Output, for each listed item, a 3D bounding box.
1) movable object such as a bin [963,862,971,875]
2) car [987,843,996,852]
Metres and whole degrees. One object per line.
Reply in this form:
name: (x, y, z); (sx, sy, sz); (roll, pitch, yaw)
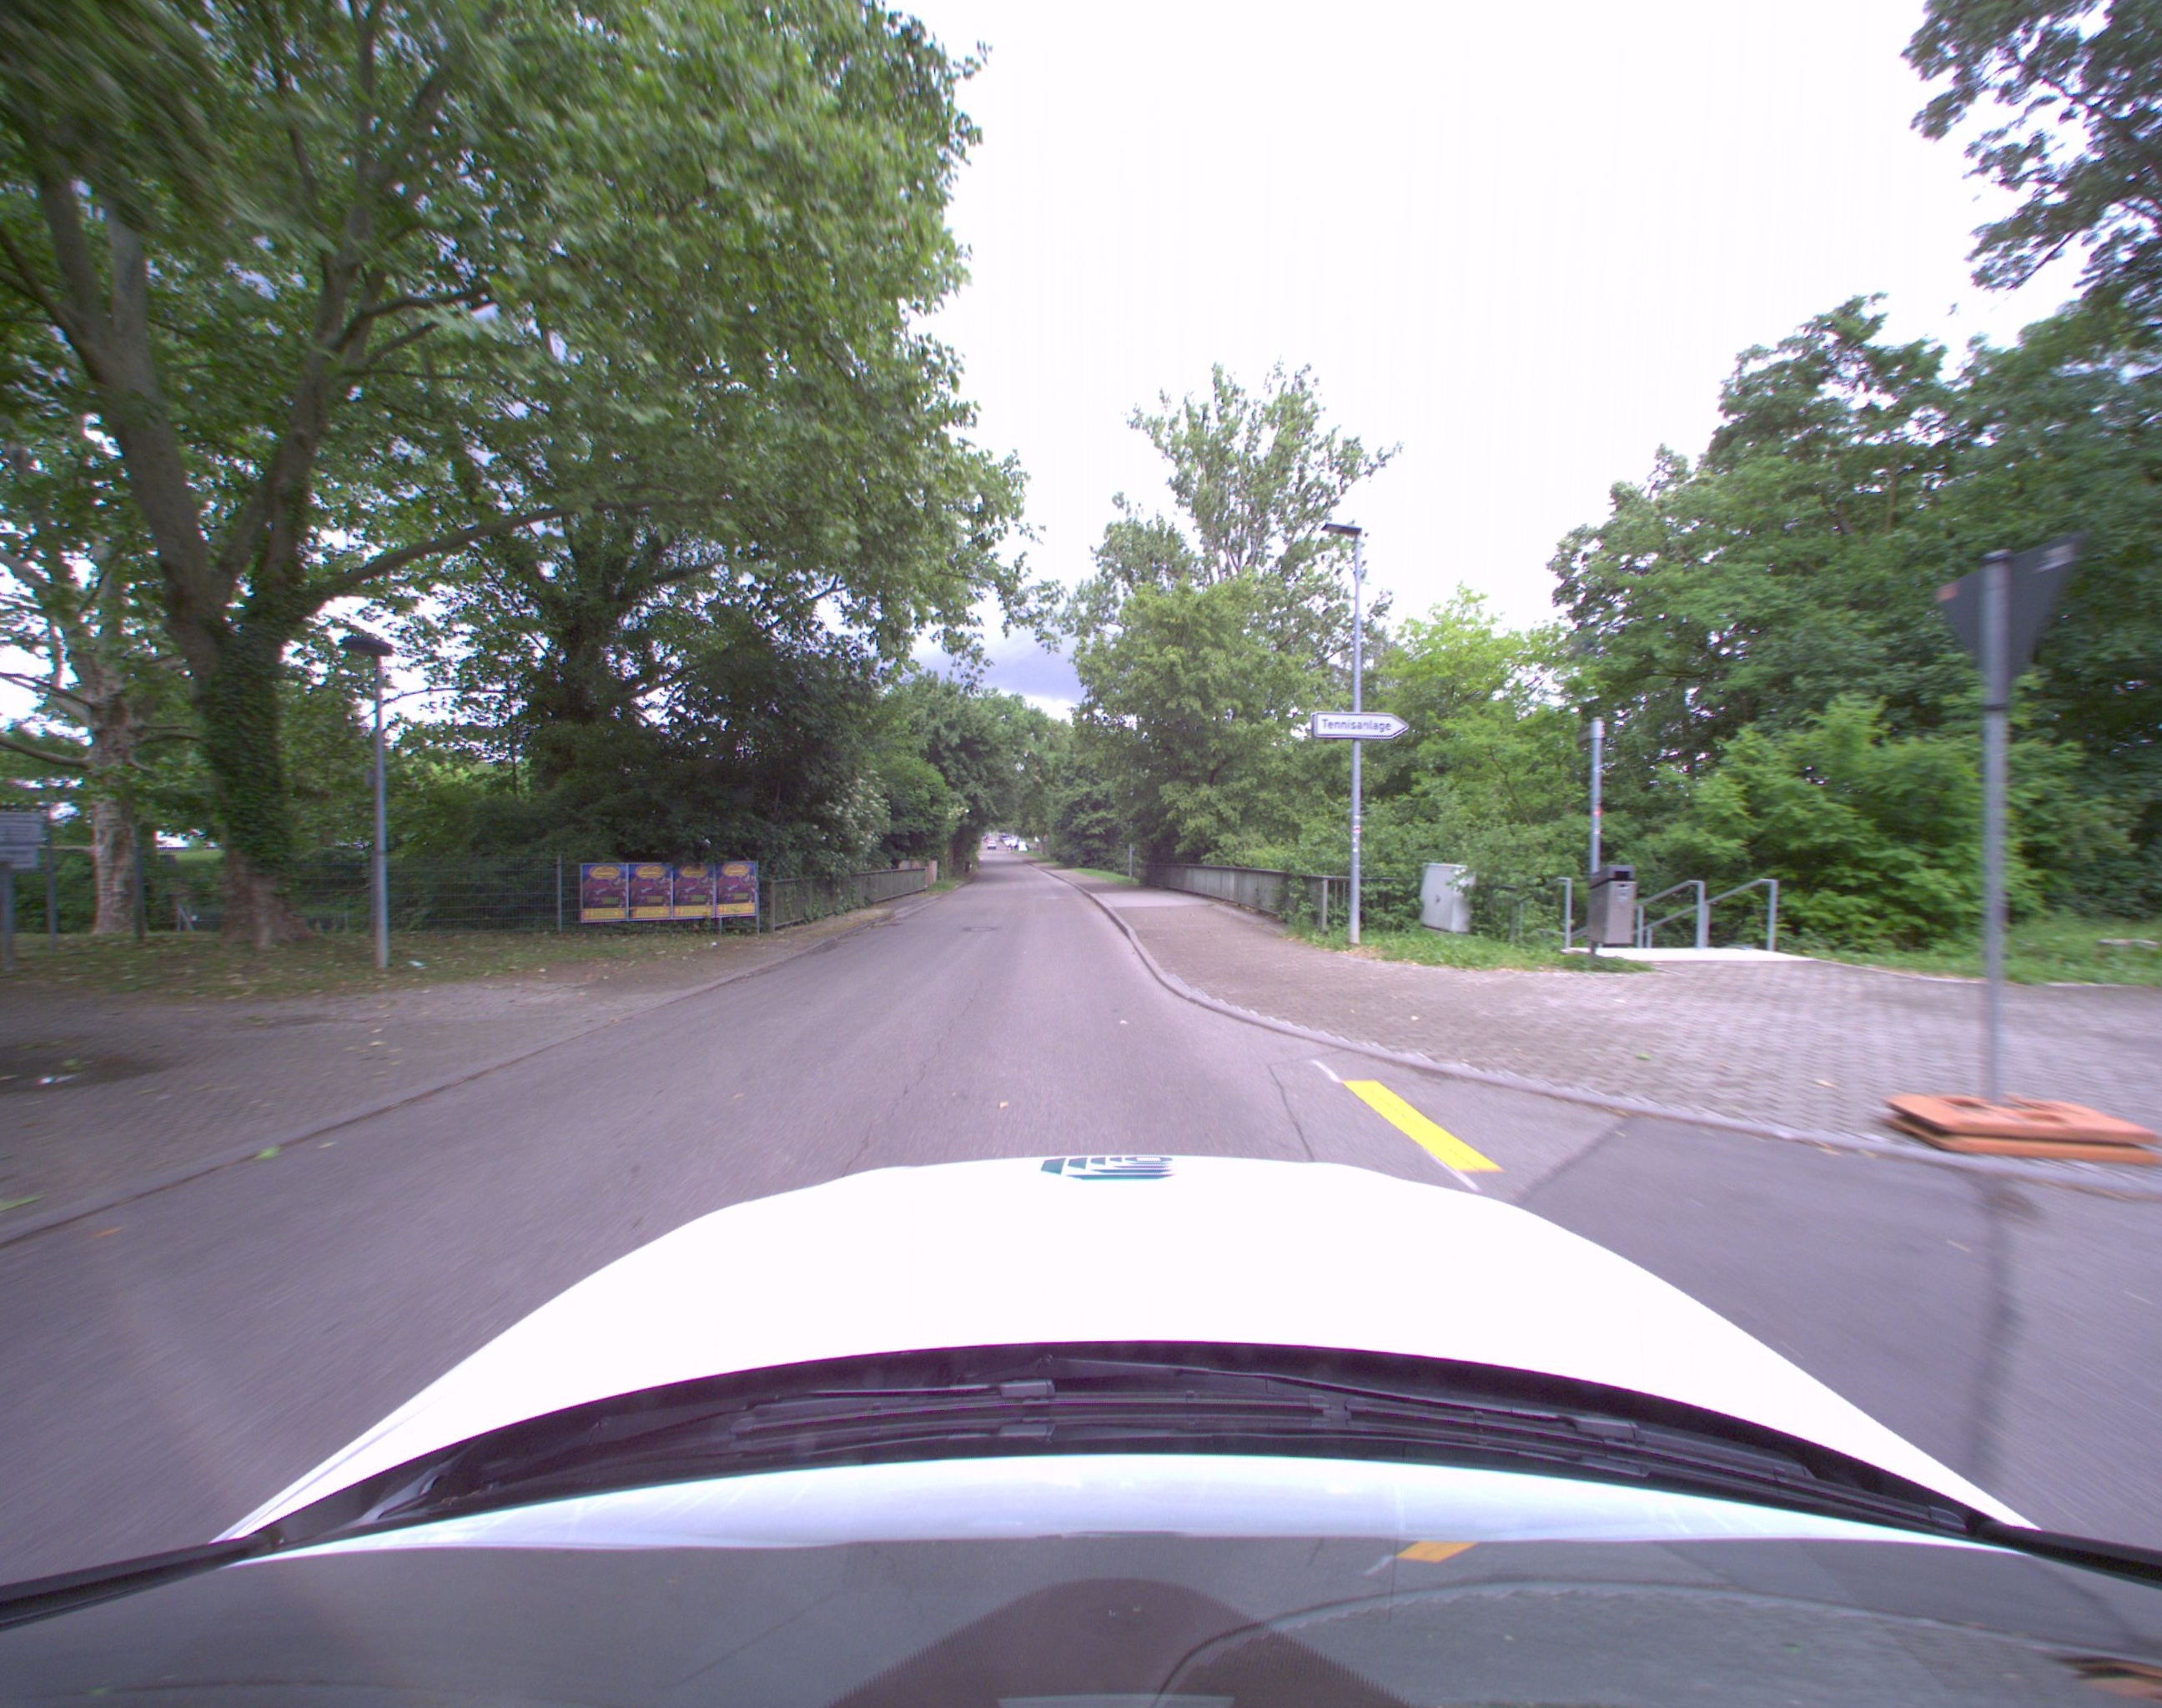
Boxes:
movable object such as a bin: (-8.355, 1.066, 59.633); (0.589, 0.957, 0.469); (0, -1, -6)
car: (-19.505, -1.472, 177.745); (1.990, 1.772, 3.992); (0, -1, -5)
